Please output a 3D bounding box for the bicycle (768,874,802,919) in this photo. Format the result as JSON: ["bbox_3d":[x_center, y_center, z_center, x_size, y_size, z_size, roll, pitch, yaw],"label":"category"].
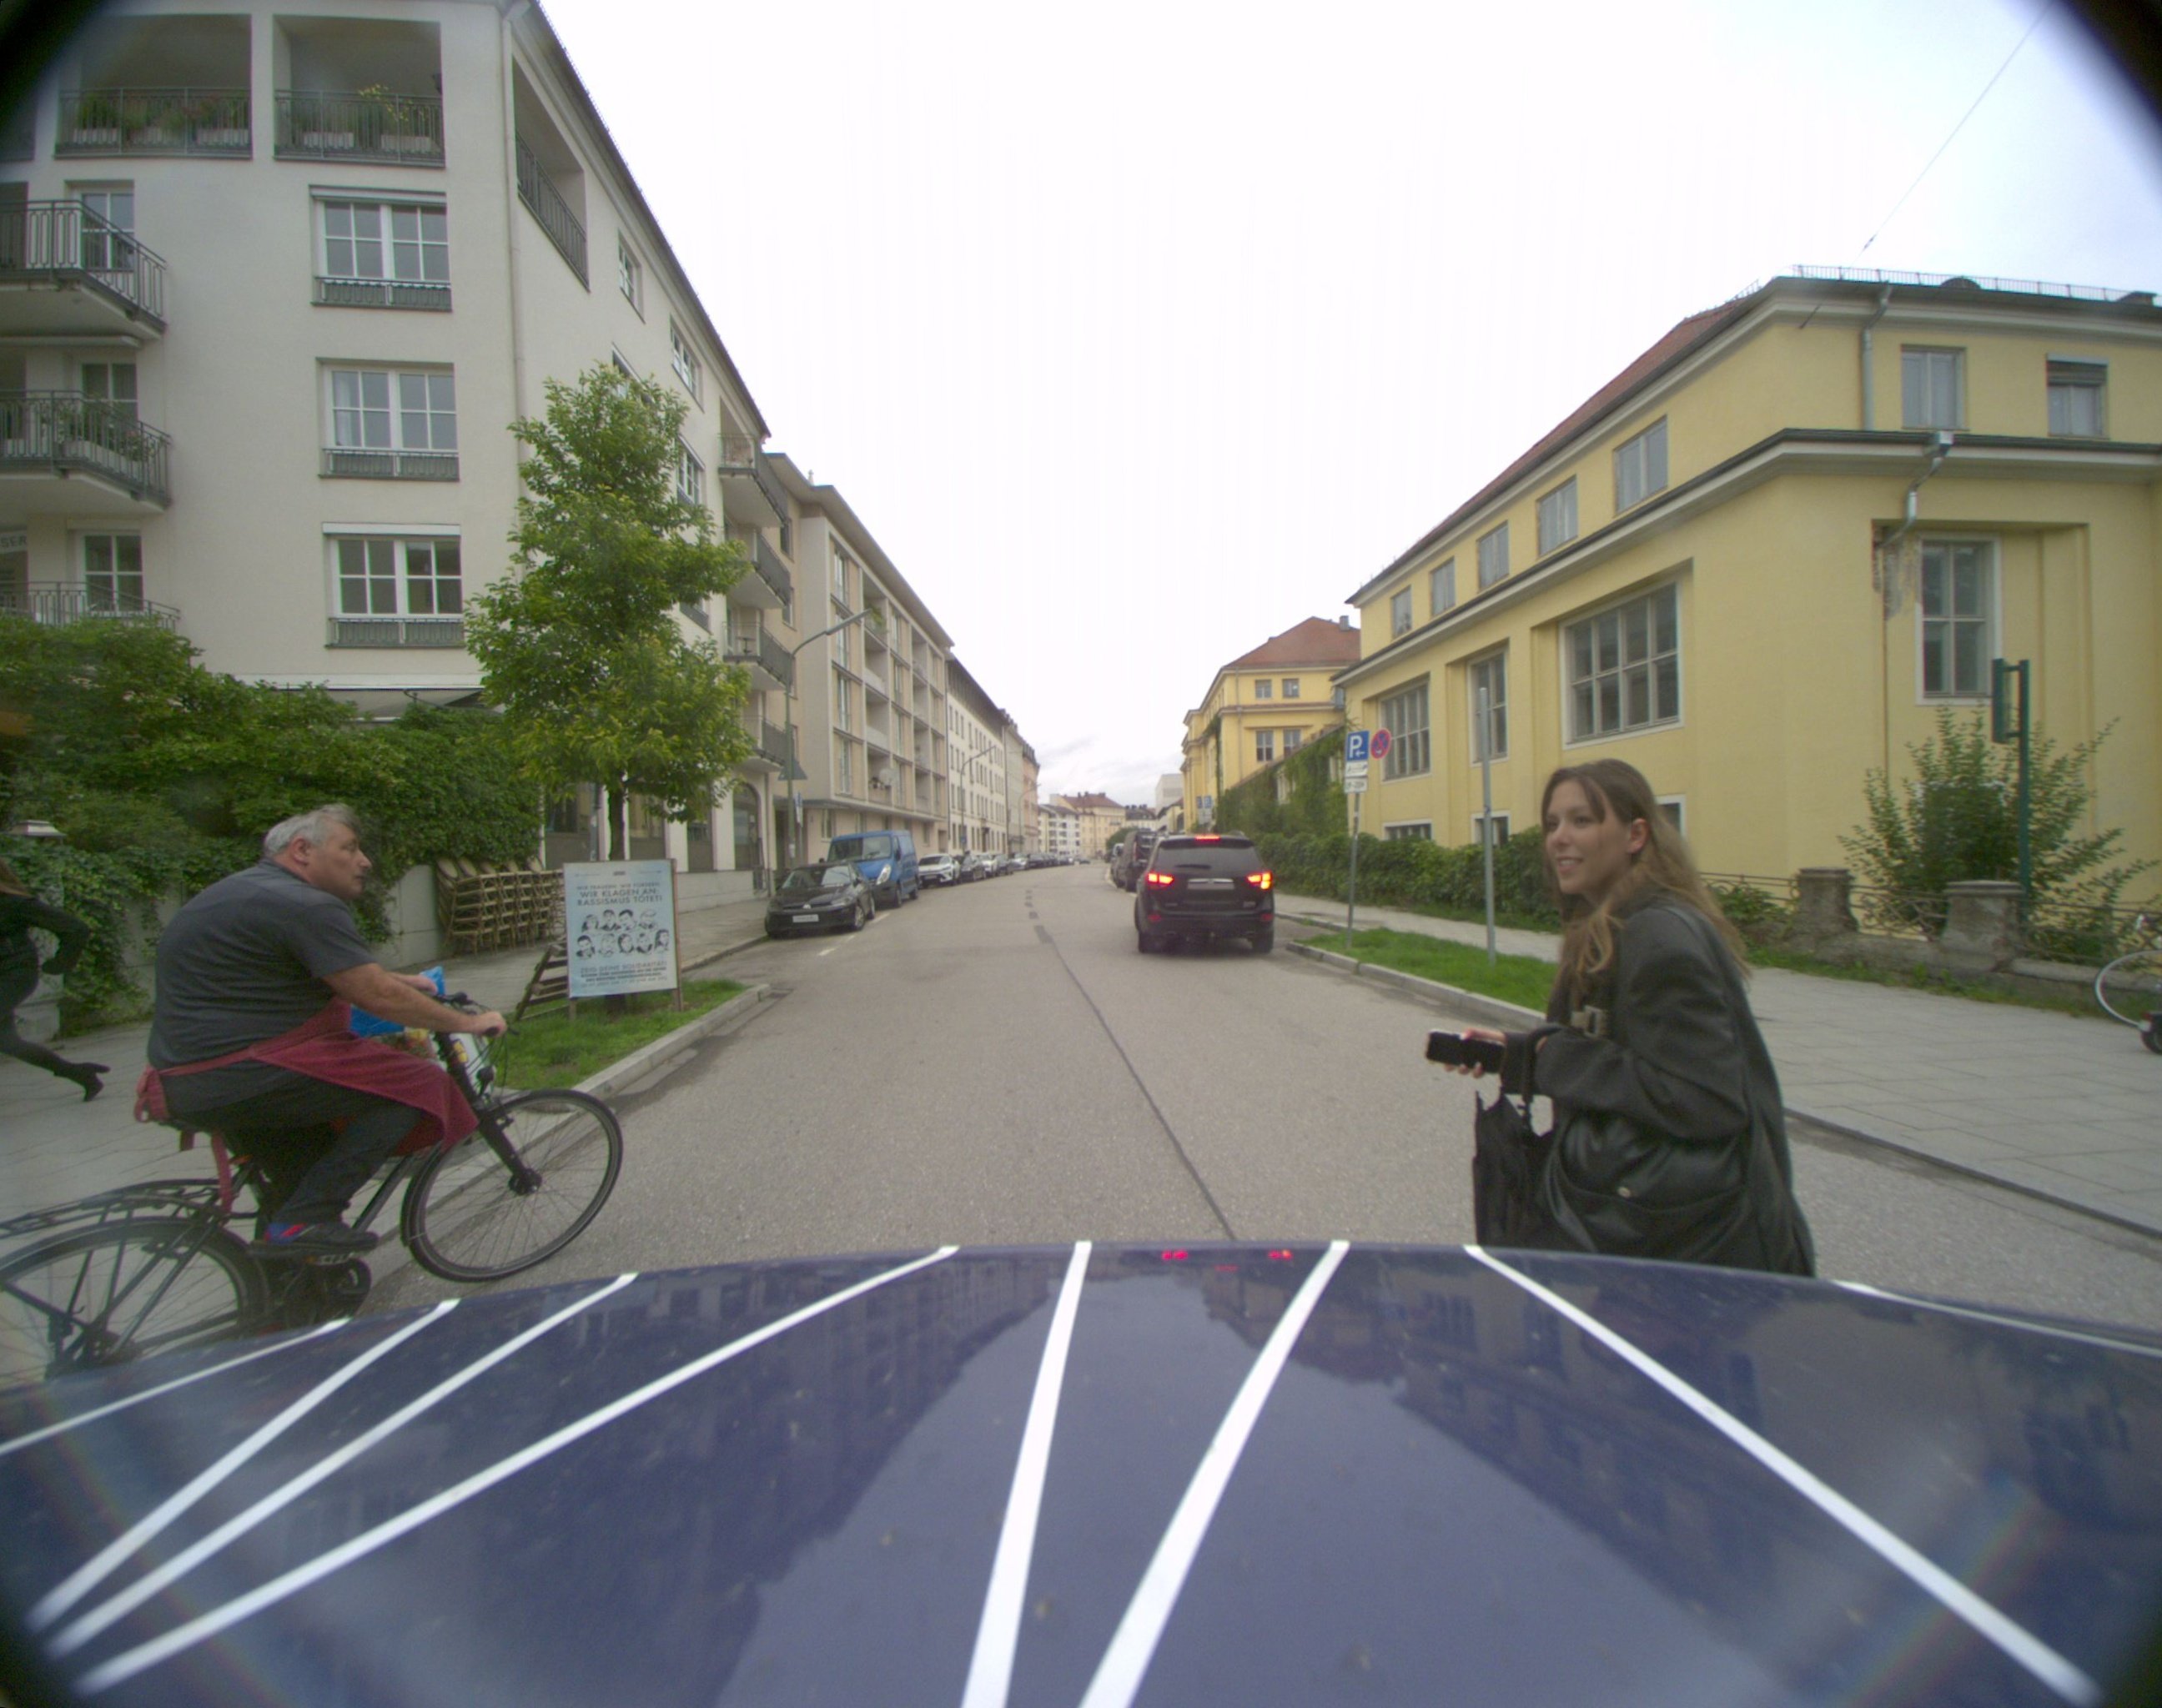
[{"bbox_3d":[-7.648,1.065,19.685,0.567,1.063,1.785,-1,0,-14],"label":"bicycle"}]

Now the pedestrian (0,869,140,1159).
[{"bbox_3d":[-6.497,0.916,4.528,0.680,1.619,0.829,-1,2,-7],"label":"pedestrian"}]

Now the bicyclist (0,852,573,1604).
[{"bbox_3d":[-2.327,0.804,2.215,0.876,1.600,1.050,-1,1,12],"label":"bicyclist"}]

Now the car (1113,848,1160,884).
[{"bbox_3d":[2.306,0.501,32.397,1.711,1.357,4.001,3,0,1],"label":"car"}]

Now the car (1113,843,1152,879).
[{"bbox_3d":[2.482,0.322,37.547,1.706,1.597,4.491,2,0,2],"label":"car"}]

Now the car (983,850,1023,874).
[{"bbox_3d":[-5.033,0.485,49.467,1.831,1.373,4.492,-4,0,3],"label":"car"}]

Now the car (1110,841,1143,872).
[{"bbox_3d":[2.884,0.150,48.242,1.897,1.788,4.881,3,0,3],"label":"car"}]

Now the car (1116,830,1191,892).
[{"bbox_3d":[2.449,0.222,26.904,1.931,1.967,4.621,1,0,-3],"label":"car"}]

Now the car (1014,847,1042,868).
[{"bbox_3d":[-4.205,0.250,60.500,1.618,1.508,3.381,-5,0,4],"label":"car"}]

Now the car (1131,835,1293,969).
[{"bbox_3d":[1.858,0.627,12.216,1.998,1.709,4.616,-1,0,3],"label":"car"}]

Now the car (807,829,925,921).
[{"bbox_3d":[-6.172,0.463,22.544,2.115,2.201,5.024,-6,3,-3],"label":"car"}]

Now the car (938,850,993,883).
[{"bbox_3d":[-5.896,0.603,39.272,1.776,1.421,4.694,-6,0,3],"label":"car"}]

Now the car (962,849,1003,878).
[{"bbox_3d":[-5.717,0.512,44.454,1.706,1.460,4.120,-6,0,1],"label":"car"}]

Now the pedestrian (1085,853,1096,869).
[{"bbox_3d":[1.663,1.317,138.077,1.929,2.933,2.025,0,0,3],"label":"pedestrian"}]

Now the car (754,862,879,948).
[{"bbox_3d":[-5.502,0.977,16.299,1.720,1.387,3.996,-5,1,-9],"label":"car"}]

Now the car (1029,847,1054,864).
[{"bbox_3d":[-3.615,0.102,70.167,1.878,1.439,4.700,-3,0,1],"label":"car"}]

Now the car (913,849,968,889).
[{"bbox_3d":[-6.236,0.637,34.138,1.780,1.514,4.303,-6,0,-3],"label":"car"}]

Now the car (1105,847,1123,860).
[{"bbox_3d":[6.399,-0.110,147.582,2.847,2.536,6.890,-1,0,-3],"label":"car"}]

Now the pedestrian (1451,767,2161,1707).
[{"bbox_3d":[1.015,0.765,1.100,0.544,1.687,0.665,0,1,-17],"label":"pedestrian"}]

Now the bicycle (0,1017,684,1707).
[{"bbox_3d":[-2.333,1.225,2.199,0.878,1.013,2.192,-1,0,12],"label":"bicycle"}]

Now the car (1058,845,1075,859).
[{"bbox_3d":[-1.772,-0.233,94.093,1.768,1.531,4.001,-4,0,3],"label":"car"}]

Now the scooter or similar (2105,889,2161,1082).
[{"bbox_3d":[7.690,0.856,4.977,1.262,1.237,0.394,-1,3,6],"label":"scooter or similar"}]

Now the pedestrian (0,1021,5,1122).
[{"bbox_3d":[-7.329,0.938,4.437,0.809,1.597,0.829,-1,2,-6],"label":"pedestrian"}]

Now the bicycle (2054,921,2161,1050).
[{"bbox_3d":[8.370,1.028,5.640,0.435,0.888,1.327,-2,3,-24],"label":"bicycle"}]
